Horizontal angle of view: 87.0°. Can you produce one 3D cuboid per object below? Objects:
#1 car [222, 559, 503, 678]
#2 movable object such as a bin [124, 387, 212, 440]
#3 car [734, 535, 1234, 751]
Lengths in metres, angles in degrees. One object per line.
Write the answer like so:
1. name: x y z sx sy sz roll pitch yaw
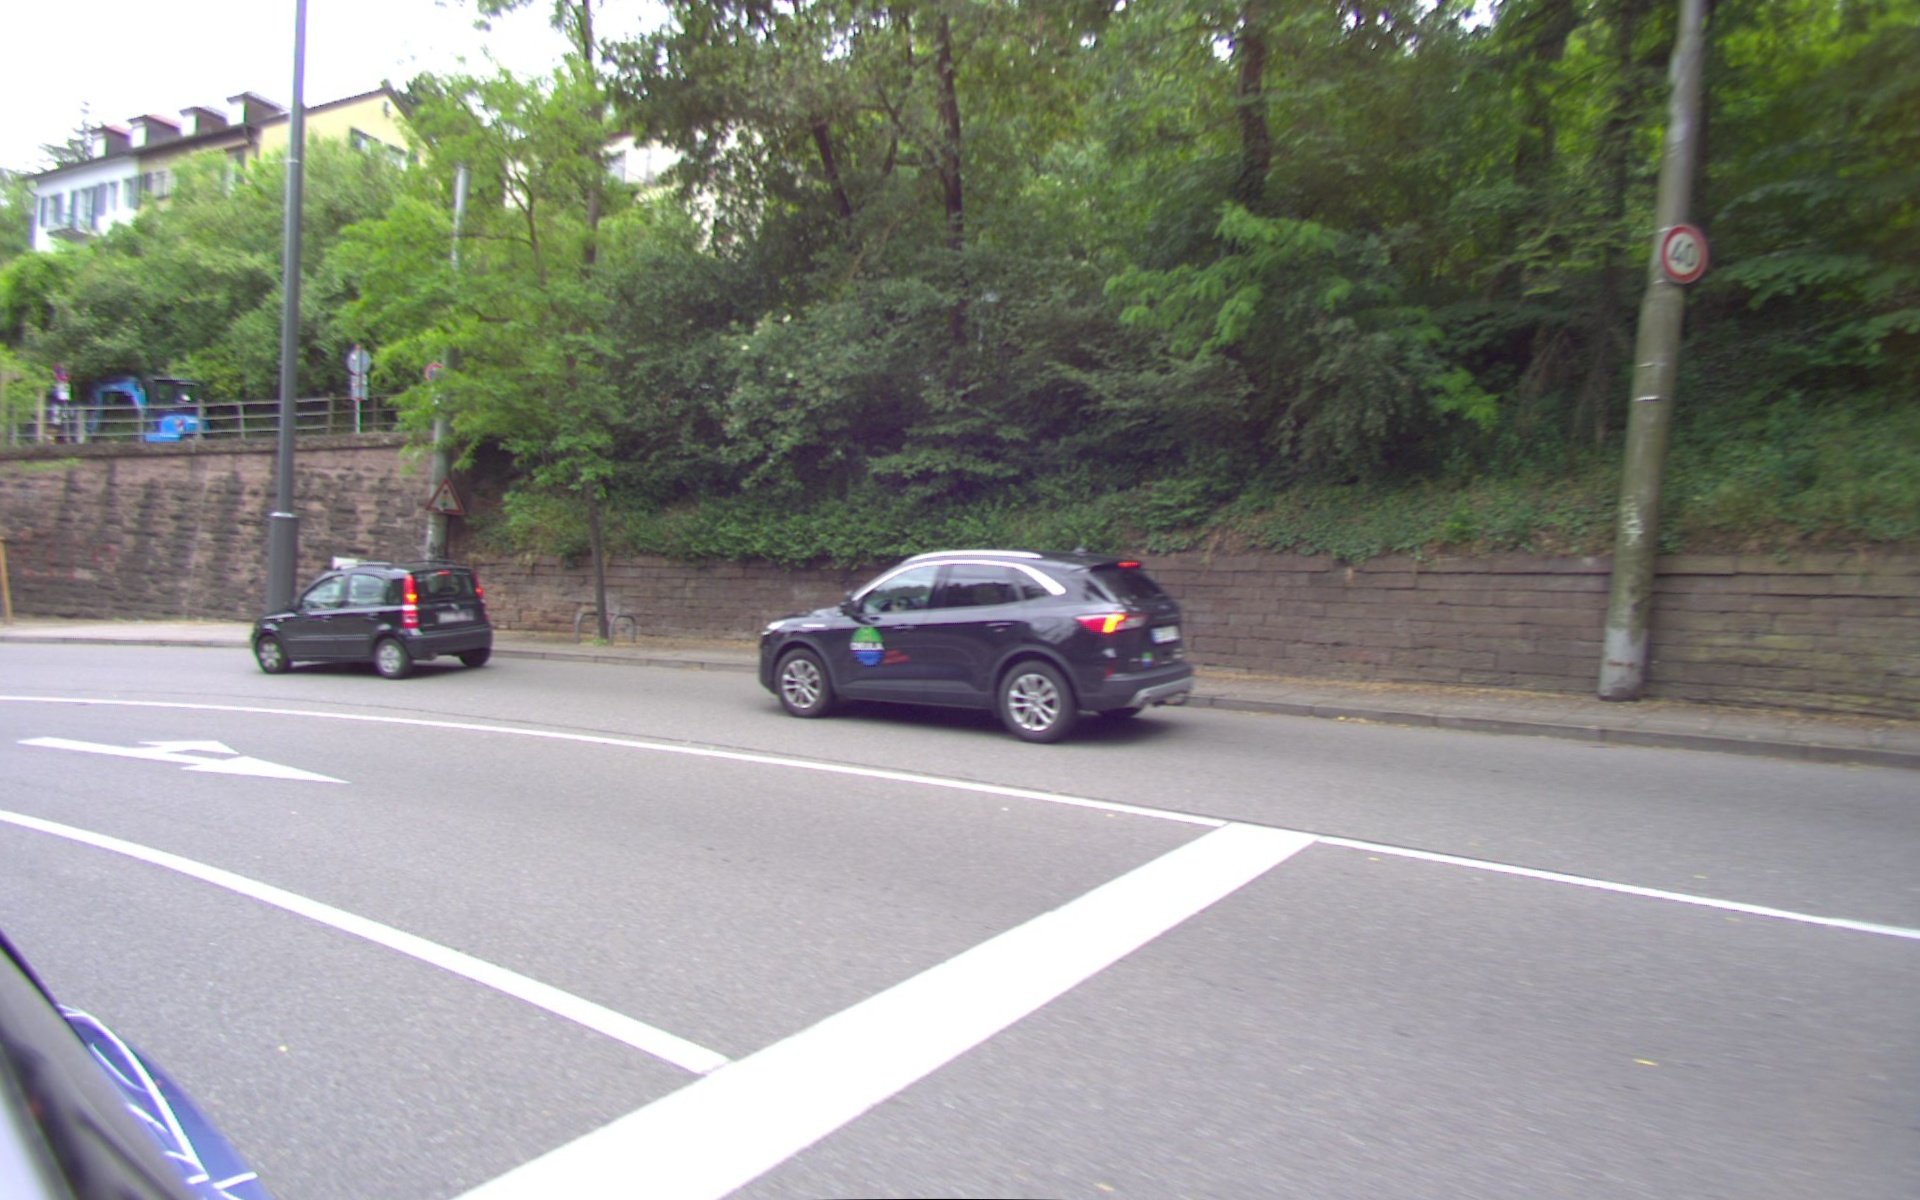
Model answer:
1. car: -8.513 0.222 14.435 3.634 1.536 1.500 0 2 21
2. movable object such as a bin: -23.272 -5.466 29.783 1.582 1.366 1.253 -1 3 0
3. car: 0.078 0.307 9.716 4.639 1.636 1.739 0 1 35
